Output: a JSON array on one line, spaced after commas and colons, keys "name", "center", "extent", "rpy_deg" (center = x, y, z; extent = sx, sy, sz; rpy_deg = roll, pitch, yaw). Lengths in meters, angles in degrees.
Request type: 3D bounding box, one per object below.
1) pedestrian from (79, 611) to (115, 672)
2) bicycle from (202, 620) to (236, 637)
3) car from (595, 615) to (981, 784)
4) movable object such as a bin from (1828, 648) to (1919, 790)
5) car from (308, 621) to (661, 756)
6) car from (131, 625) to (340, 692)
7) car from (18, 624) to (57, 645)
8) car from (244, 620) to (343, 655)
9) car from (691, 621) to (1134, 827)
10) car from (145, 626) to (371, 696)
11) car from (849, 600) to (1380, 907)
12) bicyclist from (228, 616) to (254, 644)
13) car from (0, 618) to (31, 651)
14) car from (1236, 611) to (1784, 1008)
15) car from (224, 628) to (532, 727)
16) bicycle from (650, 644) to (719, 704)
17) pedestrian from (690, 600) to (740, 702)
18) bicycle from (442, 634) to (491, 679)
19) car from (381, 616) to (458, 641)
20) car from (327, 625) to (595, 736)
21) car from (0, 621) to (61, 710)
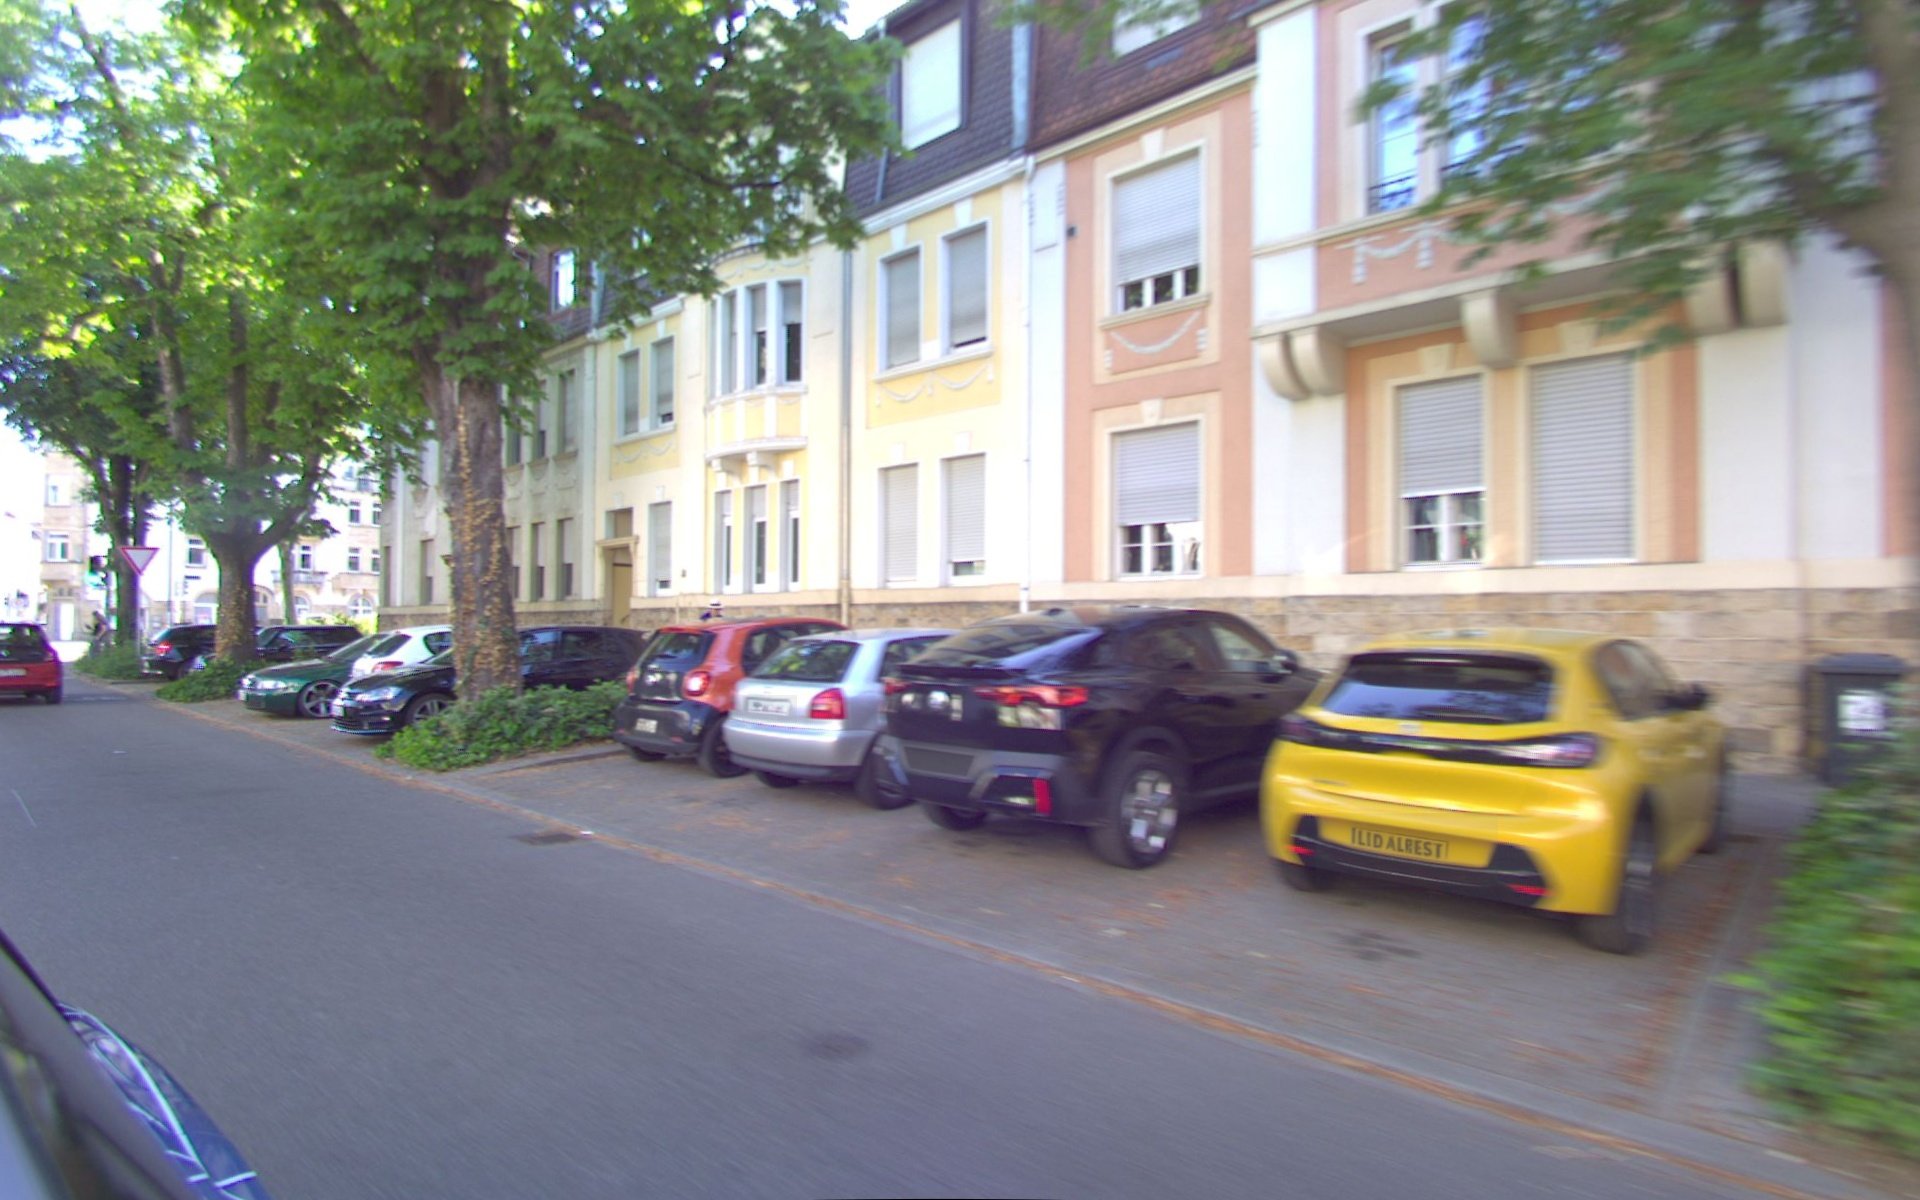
[{"name": "pedestrian", "center": [-24.439, 1.169, 28.674], "extent": [0.684, 1.695, 0.681], "rpy_deg": [1, -2, -37]}, {"name": "bicycle", "center": [-50.105, 1.958, 68.438], "extent": [0.610, 1.142, 1.786], "rpy_deg": [-2, -3, 40]}, {"name": "car", "center": [-1.734, 0.975, 11.173], "extent": [1.723, 1.519, 3.942], "rpy_deg": [-1, -3, 44]}, {"name": "movable object such as a bin", "center": [7.239, 0.908, 7.938], "extent": [0.614, 1.043, 0.680], "rpy_deg": [-1, -2, 43]}, {"name": "car", "center": [-6.267, 1.054, 13.630], "extent": [1.786, 1.493, 3.942], "rpy_deg": [-1, -1, 44]}, {"name": "car", "center": [-17.446, 1.384, 24.513], "extent": [1.615, 1.487, 3.840], "rpy_deg": [-1, -3, 42]}, {"name": "car", "center": [-79.623, 2.991, 87.409], "extent": [1.887, 1.671, 4.357], "rpy_deg": [-3, 0, -35]}, {"name": "car", "center": [-31.120, 1.749, 47.329], "extent": [1.653, 1.580, 3.565], "rpy_deg": [-2, -3, 42]}, {"name": "car", "center": [-0.269, 0.937, 9.397], "extent": [1.830, 1.414, 3.942], "rpy_deg": [-1, 0, 44]}, {"name": "car", "center": [-15.616, 1.290, 22.688], "extent": [1.612, 1.426, 3.847], "rpy_deg": [-1, -2, 36]}, {"name": "car", "center": [1.315, 0.802, 7.293], "extent": [1.864, 1.578, 3.942], "rpy_deg": [-1, -1, 44]}, {"name": "bicyclist", "center": [-40.366, 1.670, 56.829], "extent": [0.687, 1.554, 1.060], "rpy_deg": [-1, -2, 42]}, {"name": "car", "center": [-41.935, 1.459, 42.444], "extent": [4.155, 1.364, 1.865], "rpy_deg": [0, -2, -2]}, {"name": "car", "center": [3.368, 0.818, 5.847], "extent": [1.864, 1.473, 3.748], "rpy_deg": [-1, -1, 44]}, {"name": "car", "center": [-9.595, 1.190, 16.945], "extent": [1.703, 1.359, 4.166], "rpy_deg": [0, -1, 42]}, {"name": "bicycle", "center": [-4.590, 1.212, 16.814], "extent": [0.466, 0.918, 1.599], "rpy_deg": [1, -2, -40]}, {"name": "pedestrian", "center": [-4.125, 0.846, 17.021], "extent": [0.454, 1.671, 0.896], "rpy_deg": [1, -2, -39]}, {"name": "bicycle", "center": [-13.564, 1.540, 27.814], "extent": [1.982, 1.163, 0.508], "rpy_deg": [-2, -1, 43]}, {"name": "car", "center": [-34.380, 1.807, 64.479], "extent": [1.765, 1.541, 3.964], "rpy_deg": [-2, -2, 42]}, {"name": "car", "center": [-7.716, 1.158, 15.827], "extent": [1.704, 1.463, 3.394], "rpy_deg": [0, -1, 45]}, {"name": "car", "center": [-17.808, 1.143, 18.498], "extent": [3.702, 1.520, 1.623], "rpy_deg": [-1, -3, 42]}]
